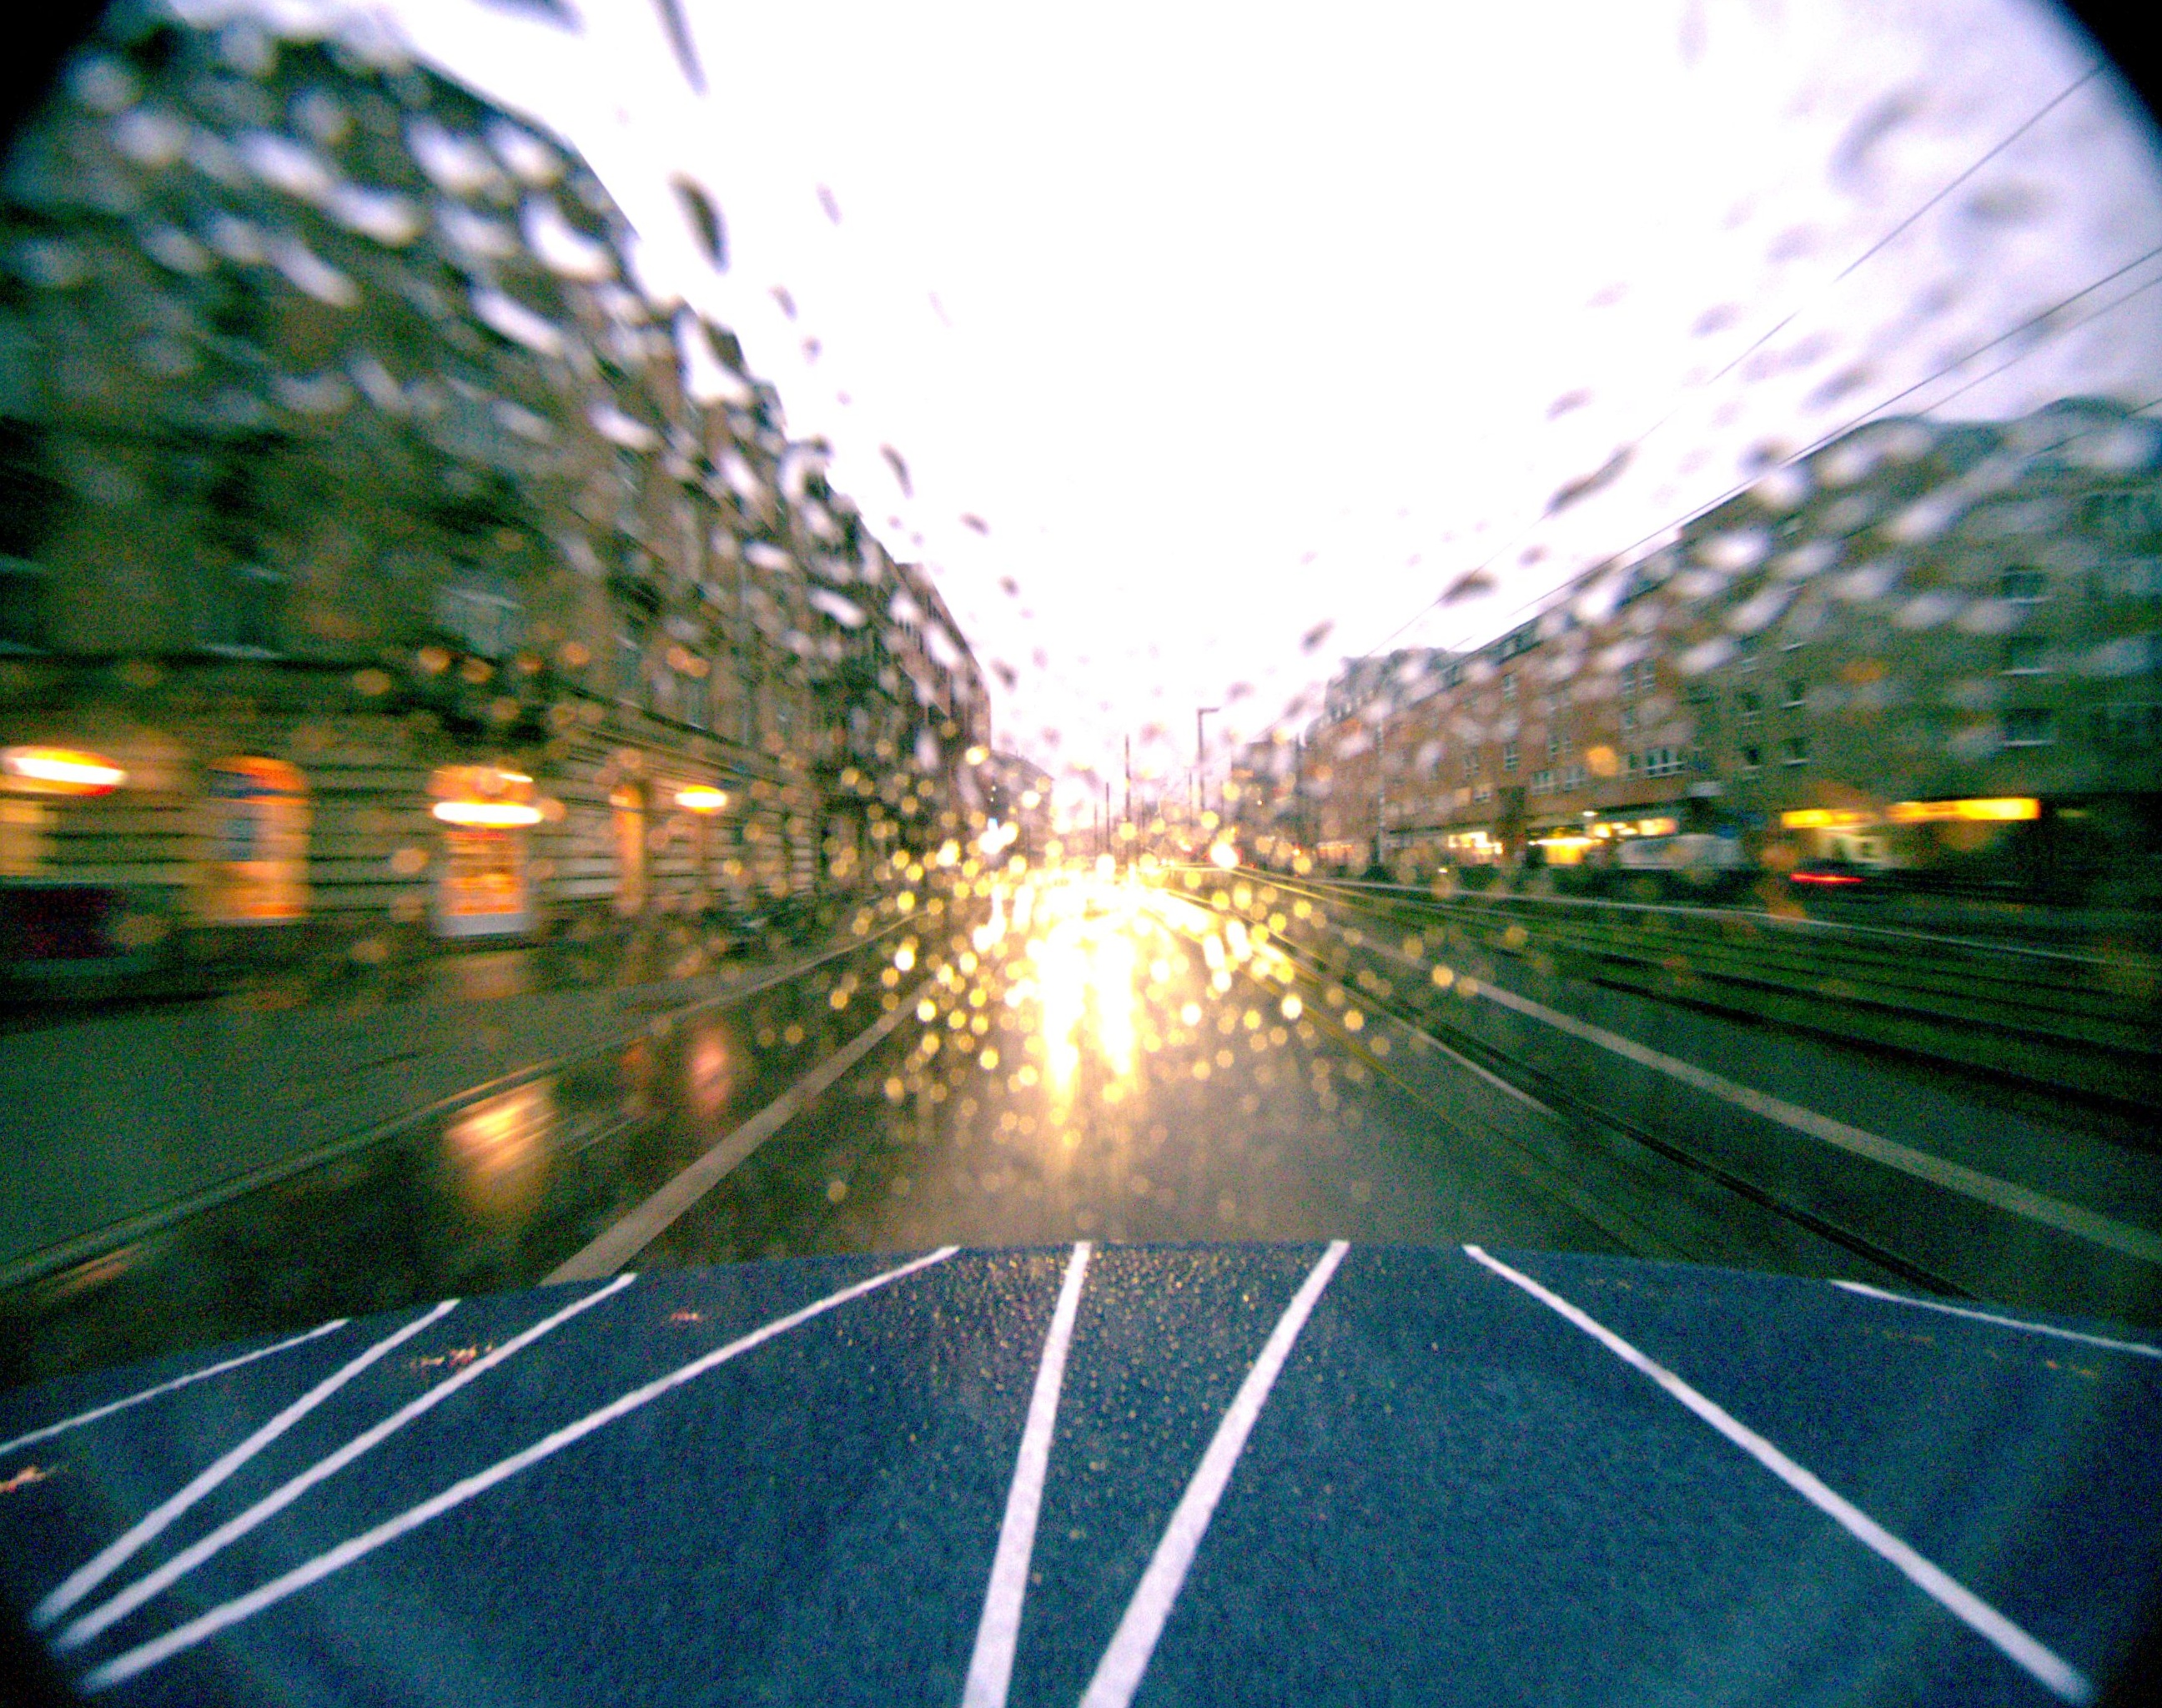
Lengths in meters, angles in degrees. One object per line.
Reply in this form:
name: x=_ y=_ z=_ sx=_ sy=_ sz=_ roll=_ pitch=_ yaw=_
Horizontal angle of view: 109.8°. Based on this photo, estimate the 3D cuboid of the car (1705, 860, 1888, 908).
car: x=18.386 y=0.736 z=19.749 sx=1.458 sy=1.116 sz=3.426 roll=-1 pitch=0 yaw=-2

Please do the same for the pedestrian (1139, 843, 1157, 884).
pedestrian: x=3.468 y=0.491 z=39.267 sx=0.812 sy=2.098 sz=0.804 roll=-1 pitch=0 yaw=-3

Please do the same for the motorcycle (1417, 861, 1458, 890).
motorcycle: x=12.991 y=0.763 z=27.761 sx=0.514 sy=1.002 sz=1.806 roll=-3 pitch=0 yaw=-4

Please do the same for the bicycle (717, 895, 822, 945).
bicycle: x=-6.791 y=1.445 z=16.618 sx=2.093 sy=1.046 sz=0.478 roll=0 pitch=0 yaw=-1

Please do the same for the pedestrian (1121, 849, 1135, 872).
pedestrian: x=3.595 y=0.480 z=58.144 sx=0.779 sy=1.694 sz=0.772 roll=-2 pitch=0 yaw=-18

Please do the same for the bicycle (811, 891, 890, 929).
bicycle: x=-6.360 y=1.542 z=20.972 sx=2.013 sy=0.965 sz=0.425 roll=2 pitch=0 yaw=-1

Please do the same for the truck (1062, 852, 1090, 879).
truck: x=-0.368 y=0.870 z=57.642 sx=1.909 sy=1.905 sz=4.617 roll=-3 pitch=0 yaw=0

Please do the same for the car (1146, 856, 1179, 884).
car: x=4.448 y=0.846 z=41.558 sx=1.435 sy=1.433 sz=3.136 roll=-3 pitch=0 yaw=1

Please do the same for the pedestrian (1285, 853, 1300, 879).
pedestrian: x=12.713 y=0.719 z=45.707 sx=0.636 sy=1.515 sz=0.756 roll=-3 pitch=0 yaw=0

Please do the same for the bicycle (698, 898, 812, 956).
bicycle: x=-6.565 y=1.450 z=15.367 sx=2.097 sy=1.046 sz=0.477 roll=0 pitch=0 yaw=-26

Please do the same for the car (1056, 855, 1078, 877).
car: x=-1.331 y=1.123 z=74.501 sx=1.998 sy=2.002 sz=4.000 roll=-3 pitch=0 yaw=1

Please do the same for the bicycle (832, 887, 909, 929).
bicycle: x=-5.919 y=1.514 z=21.432 sx=2.013 sy=1.089 sz=0.425 roll=2 pitch=0 yaw=-1

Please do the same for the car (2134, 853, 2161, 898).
car: x=35.623 y=0.663 z=22.964 sx=1.606 sy=1.422 sz=4.140 roll=-1 pitch=0 yaw=-11

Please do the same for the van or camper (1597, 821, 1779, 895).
van or camper: x=25.051 y=0.133 z=31.870 sx=2.778 sy=2.666 sz=6.757 roll=-3 pitch=0 yaw=7

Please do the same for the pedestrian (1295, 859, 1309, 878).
pedestrian: x=13.391 y=0.860 z=46.038 sx=0.608 sy=1.096 sz=0.591 roll=-3 pitch=0 yaw=0

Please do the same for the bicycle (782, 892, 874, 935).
bicycle: x=-6.344 y=1.487 z=19.097 sx=2.149 sy=1.049 sz=0.484 roll=0 pitch=0 yaw=-1

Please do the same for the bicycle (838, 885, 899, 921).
bicycle: x=-6.409 y=1.481 z=22.959 sx=1.734 sy=1.049 sz=0.371 roll=0 pitch=0 yaw=-1

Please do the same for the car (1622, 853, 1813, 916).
car: x=15.525 y=0.669 z=18.794 sx=1.686 sy=1.346 sz=3.545 roll=-2 pitch=0 yaw=-1

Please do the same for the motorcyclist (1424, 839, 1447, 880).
motorcyclist: x=12.993 y=0.208 z=27.823 sx=0.500 sy=1.487 sz=0.556 roll=-3 pitch=0 yaw=-5

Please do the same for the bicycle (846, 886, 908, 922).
bicycle: x=-6.028 y=1.482 z=22.463 sx=1.734 sy=1.049 sz=0.371 roll=0 pitch=0 yaw=-1

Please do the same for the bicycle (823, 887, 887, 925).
bicycle: x=-6.473 y=1.490 z=21.775 sx=1.734 sy=1.049 sz=0.371 roll=0 pitch=0 yaw=-1

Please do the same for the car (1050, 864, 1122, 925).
car: x=0.117 y=1.054 z=21.400 sx=1.774 sy=1.449 sz=4.221 roll=-3 pitch=0 yaw=0

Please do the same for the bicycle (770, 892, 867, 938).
bicycle: x=-6.324 y=1.466 z=18.315 sx=2.149 sy=1.048 sz=0.425 roll=2 pitch=-1 yaw=-1

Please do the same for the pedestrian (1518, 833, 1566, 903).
pedestrian: x=12.204 y=0.366 z=20.118 sx=0.799 sy=1.769 sz=0.820 roll=-3 pitch=1 yaw=-41

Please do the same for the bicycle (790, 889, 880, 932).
bicycle: x=-6.348 y=1.465 z=19.666 sx=2.149 sy=1.048 sz=0.425 roll=1 pitch=-1 yaw=-1

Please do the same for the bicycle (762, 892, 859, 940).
bicycle: x=-6.329 y=1.456 z=17.831 sx=2.093 sy=1.046 sz=0.478 roll=1 pitch=0 yaw=-1
